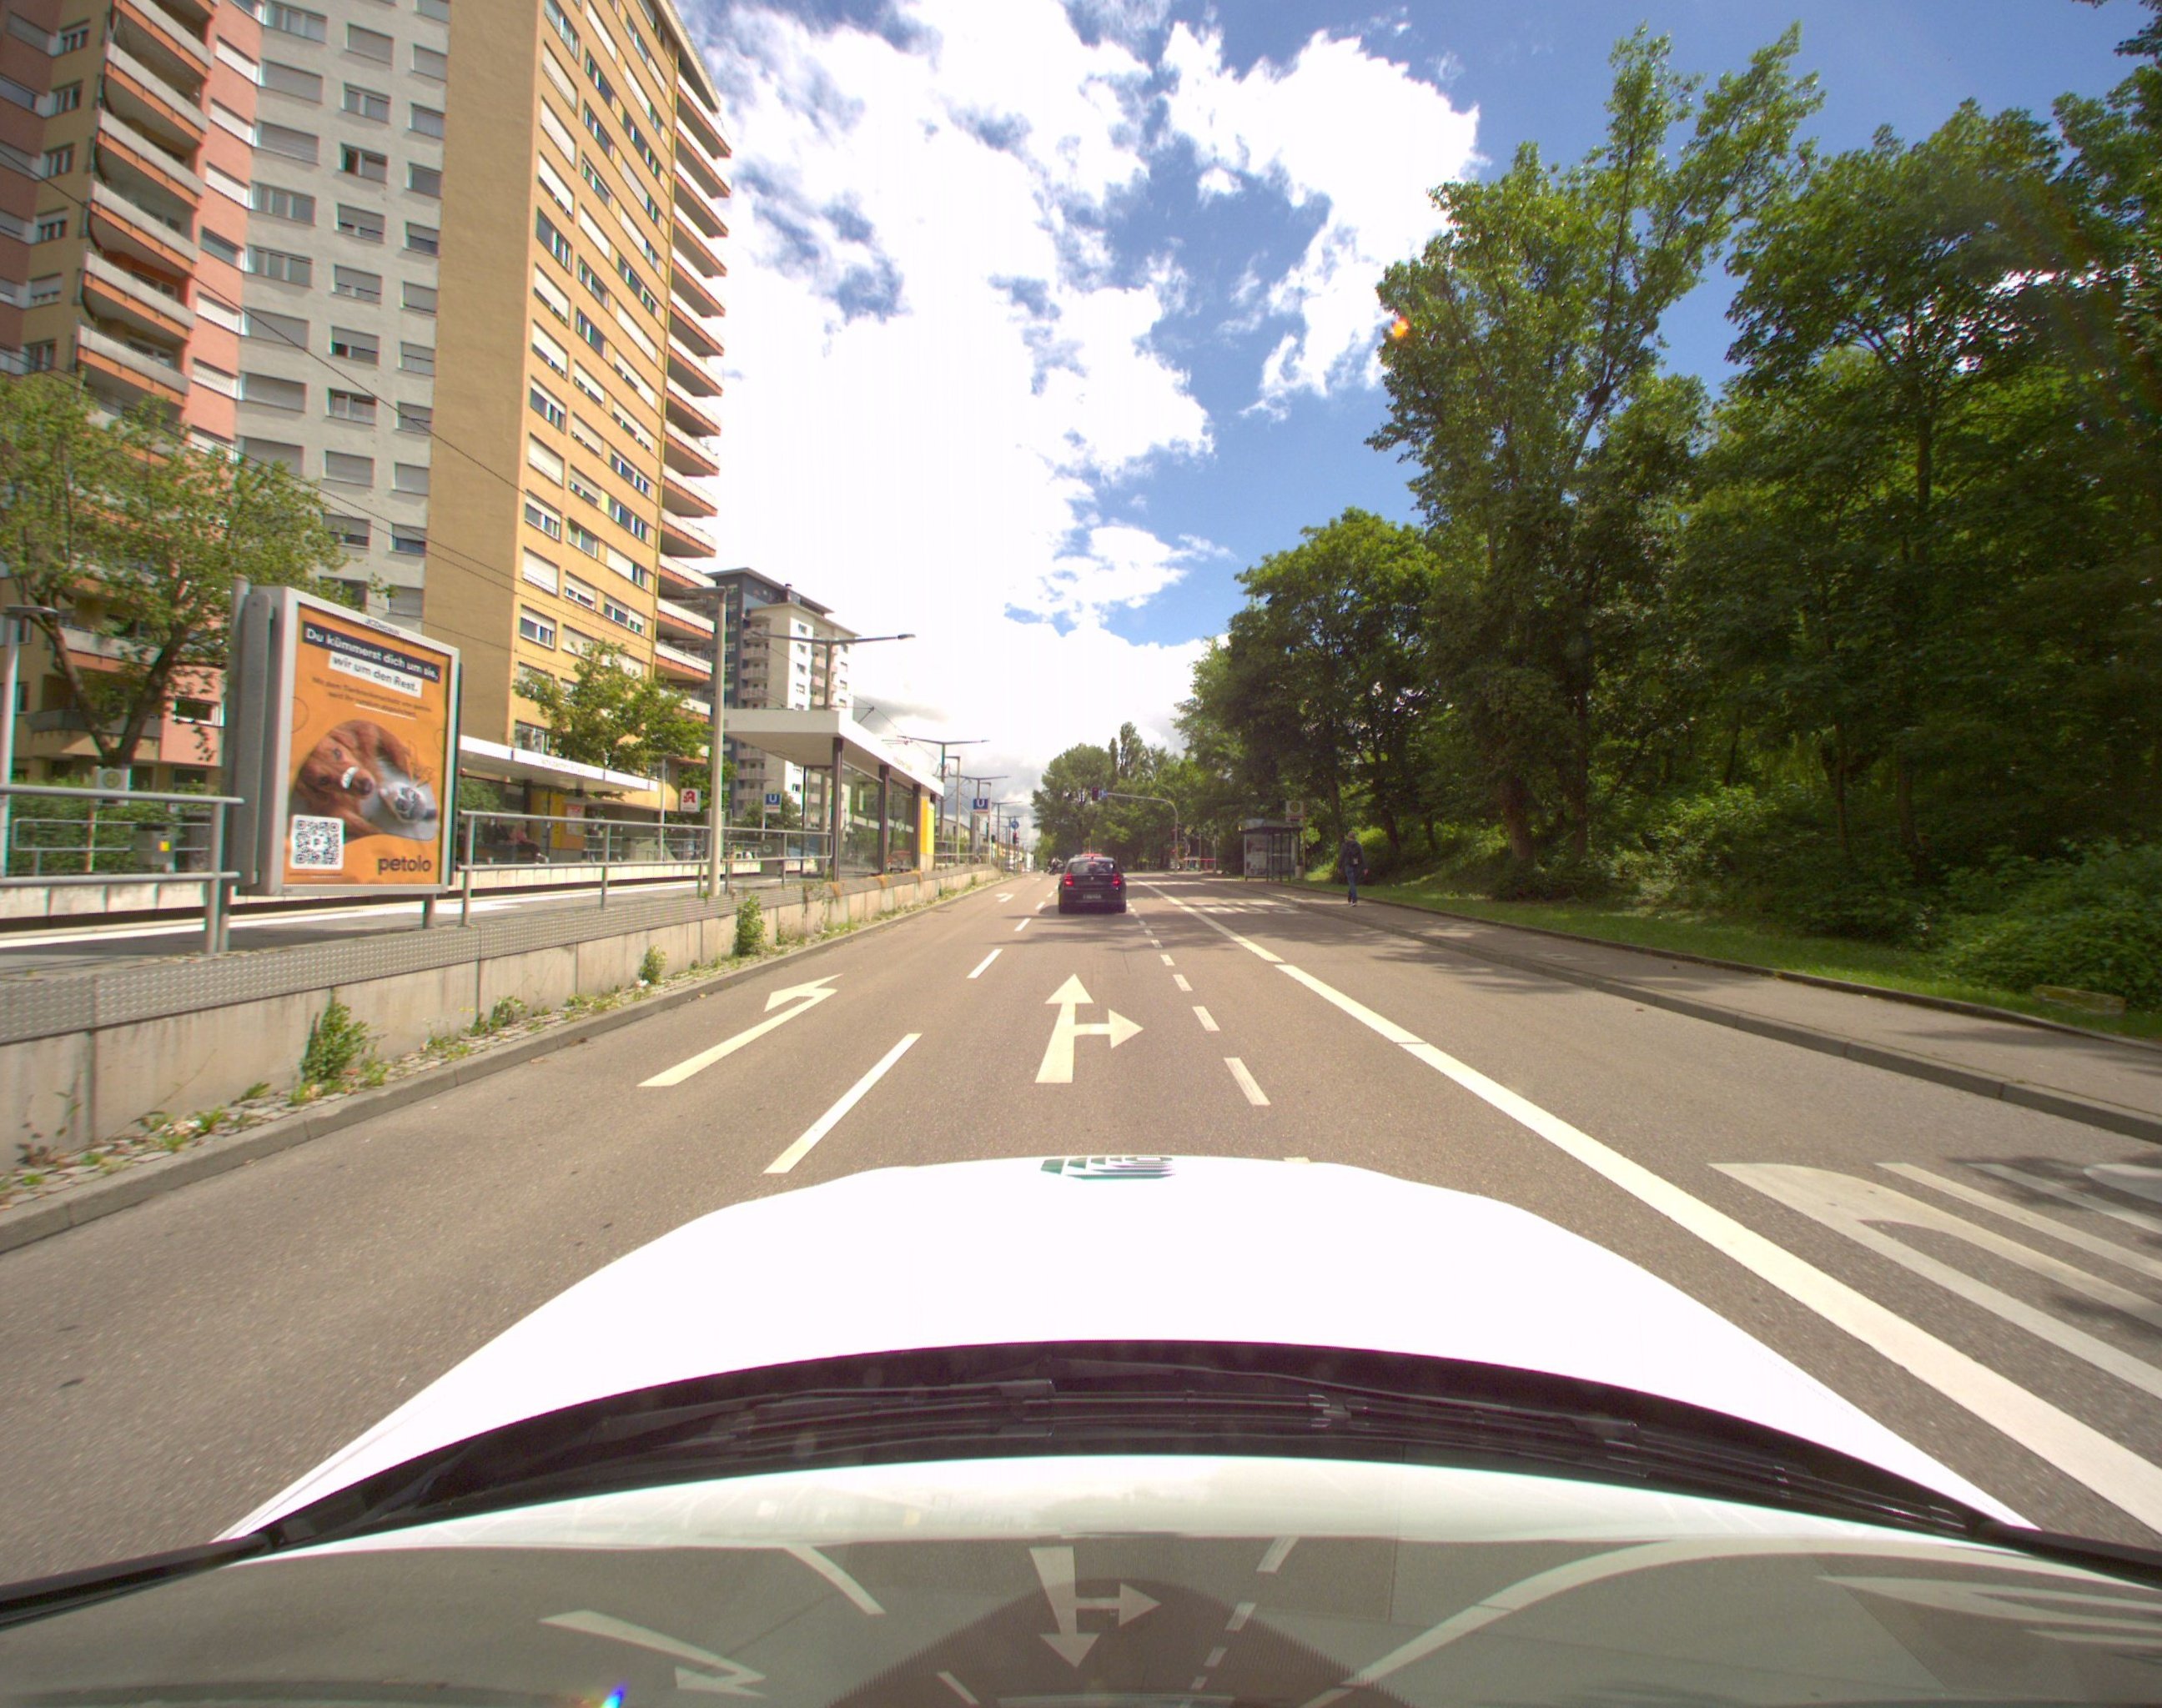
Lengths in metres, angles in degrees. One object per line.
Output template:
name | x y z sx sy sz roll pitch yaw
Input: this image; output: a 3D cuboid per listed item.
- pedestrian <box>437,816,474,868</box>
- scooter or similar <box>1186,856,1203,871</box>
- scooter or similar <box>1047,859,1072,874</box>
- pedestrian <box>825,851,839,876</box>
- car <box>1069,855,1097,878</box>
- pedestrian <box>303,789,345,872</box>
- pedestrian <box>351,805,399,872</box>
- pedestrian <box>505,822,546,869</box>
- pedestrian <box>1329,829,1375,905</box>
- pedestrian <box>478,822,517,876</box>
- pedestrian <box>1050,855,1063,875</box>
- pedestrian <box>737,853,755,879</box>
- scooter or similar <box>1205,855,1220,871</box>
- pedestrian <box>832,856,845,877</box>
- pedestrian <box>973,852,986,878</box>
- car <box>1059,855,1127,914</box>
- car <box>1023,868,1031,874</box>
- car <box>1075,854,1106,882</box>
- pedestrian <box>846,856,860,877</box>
pedestrian | -15.225 -0.289 19.837 0.520 1.236 0.541 -1 0 -11
scooter or similar | 8.786 0.735 63.028 1.290 1.189 0.383 -1 0 -15
scooter or similar | -1.561 0.925 58.562 1.781 1.051 0.409 -1 0 -11
pedestrian | -16.020 0.590 52.462 0.605 1.583 0.775 0 0 4
car | 0.113 0.753 50.720 1.650 1.419 3.515 0 0 -1
pedestrian | -15.332 -0.460 16.504 0.523 1.644 0.559 0 -1 -32
pedestrian | -15.102 -0.322 17.426 0.541 1.380 0.520 -1 -3 -8
pedestrian | -14.891 -0.224 21.850 0.739 1.236 0.518 -1 0 1
pedestrian | 6.951 0.328 20.957 0.798 1.895 1.271 0 0 1
pedestrian | -15.064 -0.118 21.031 0.641 1.369 0.507 -1 0 1
pedestrian | -1.771 0.774 59.095 0.862 1.442 0.798 -1 0 -1
pedestrian | -22.143 0.763 53.862 0.851 1.696 0.692 0 -1 15
scooter or similar | 10.347 0.731 63.873 1.107 1.258 0.330 -1 -1 -12
pedestrian | -15.288 0.788 51.364 0.660 1.343 0.558 -1 -1 42
pedestrian | -6.585 0.706 52.734 0.698 1.632 0.638 -1 0 0
car | 0.369 0.741 21.530 1.648 1.419 3.519 0 0 2
car | -15.120 4.662 227.714 1.961 1.596 3.997 0 0 -2
car | 0.529 0.711 43.628 1.589 1.419 3.518 0 0 1
pedestrian | -14.529 0.788 51.924 0.691 1.343 0.852 0 0 -30
